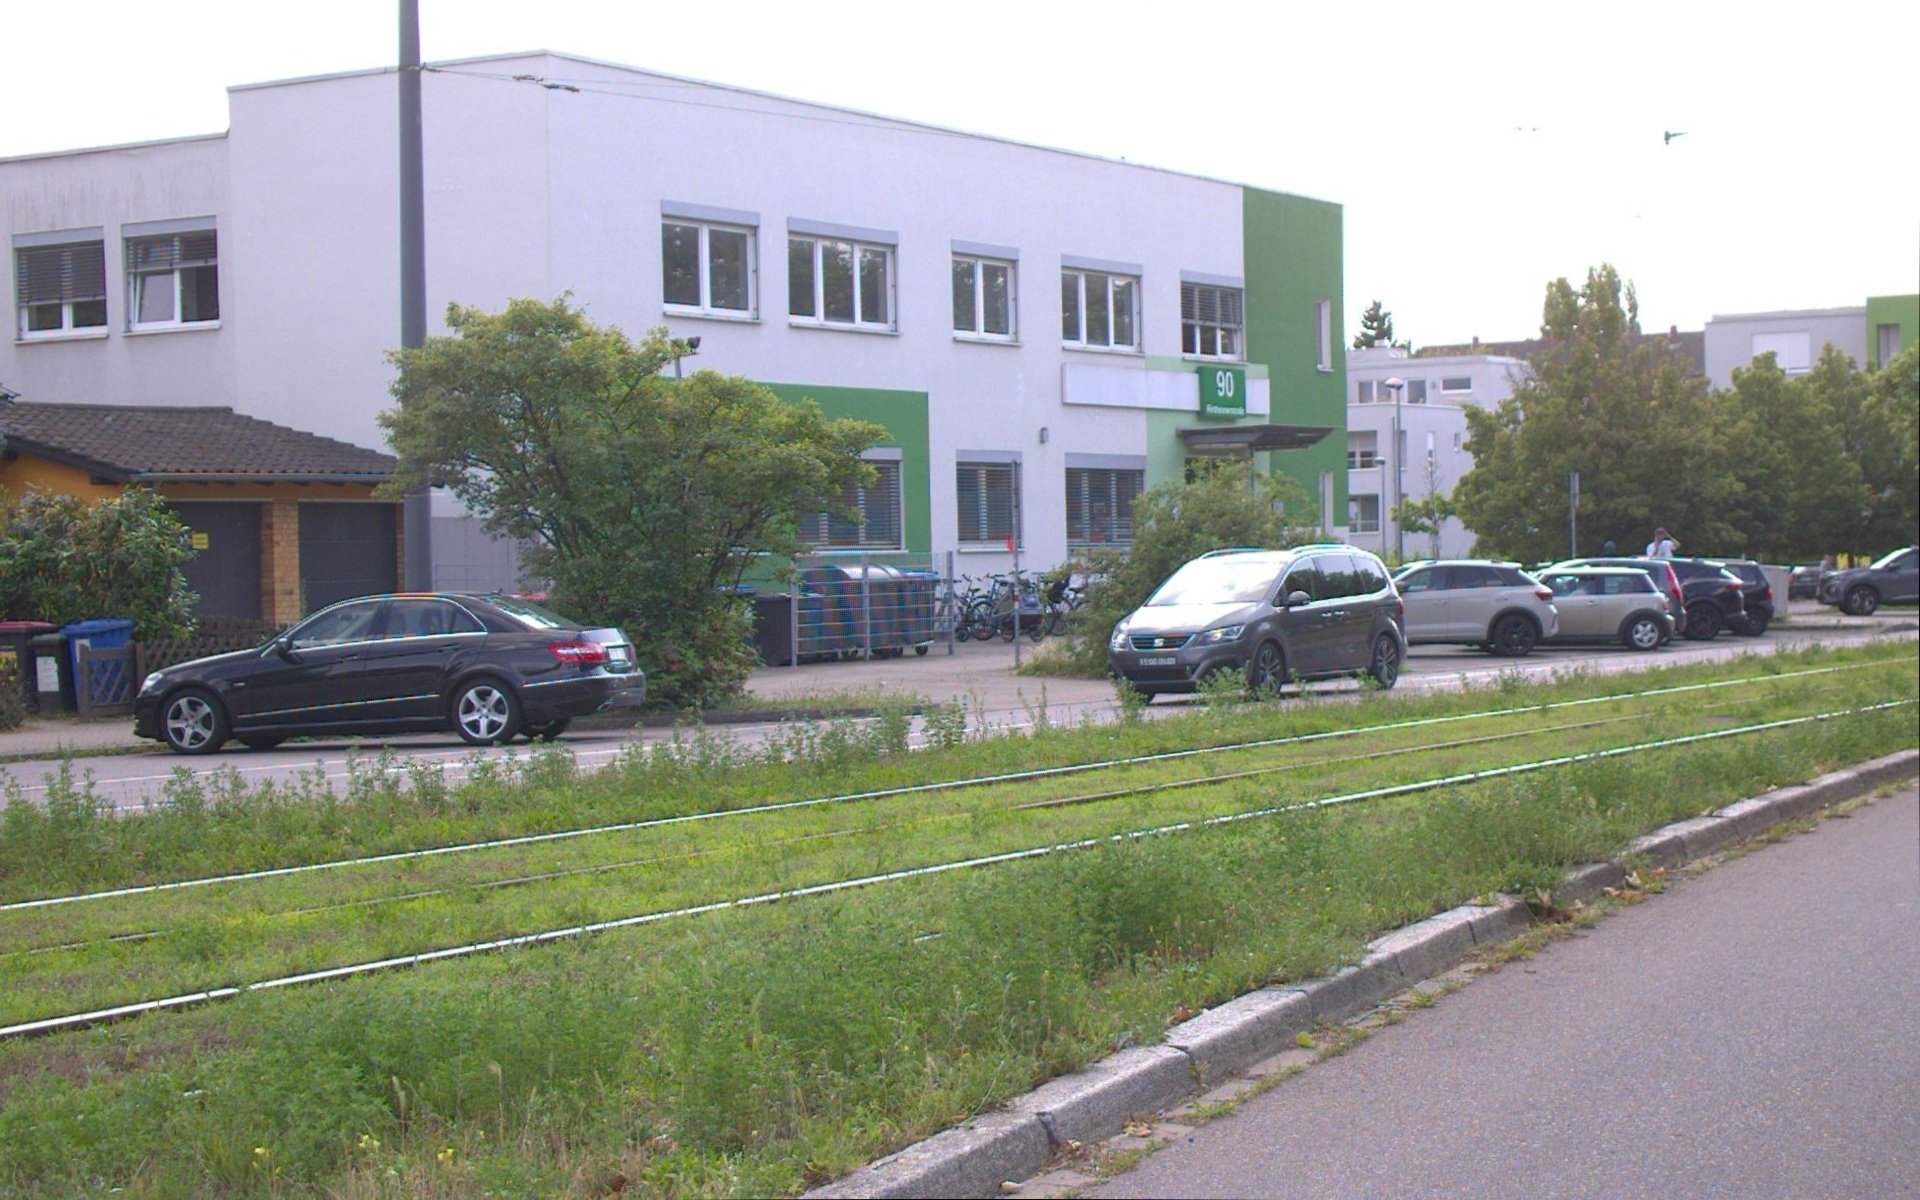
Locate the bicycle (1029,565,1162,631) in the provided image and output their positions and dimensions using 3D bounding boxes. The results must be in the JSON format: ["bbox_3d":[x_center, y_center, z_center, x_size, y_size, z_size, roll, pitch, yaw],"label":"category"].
[{"bbox_3d":[2.461,-0.032,62.630,2.415,1.162,0.747,-1,1,38],"label":"bicycle"}]

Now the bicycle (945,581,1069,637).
[{"bbox_3d":[0.836,0.167,61.222,2.156,0.967,0.729,-1,1,35],"label":"bicycle"}]

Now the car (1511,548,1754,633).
[{"bbox_3d":[12.333,-0.180,63.224,4.157,1.498,1.860,0,1,4],"label":"car"}]

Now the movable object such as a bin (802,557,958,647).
[{"bbox_3d":[-1.209,0.023,52.687,1.375,1.322,2.127,-1,1,35],"label":"movable object such as a bin"}]

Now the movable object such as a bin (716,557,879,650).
[{"bbox_3d":[-2.391,0.044,50.848,1.375,1.322,2.113,-1,1,35],"label":"movable object such as a bin"}]

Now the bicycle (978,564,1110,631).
[{"bbox_3d":[1.500,-0.035,61.880,2.349,1.162,0.759,-1,1,37],"label":"bicycle"}]

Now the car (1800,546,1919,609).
[{"bbox_3d":[21.420,-0.529,78.158,4.302,1.359,1.901,-1,1,7],"label":"car"}]

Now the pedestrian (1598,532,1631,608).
[{"bbox_3d":[14.672,-0.673,77.045,0.596,1.669,0.540,-1,1,22],"label":"pedestrian"}]

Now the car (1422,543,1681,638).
[{"bbox_3d":[10.410,-0.175,60.768,4.301,1.623,1.902,0,1,3],"label":"car"}]

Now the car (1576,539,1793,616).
[{"bbox_3d":[14.506,-0.459,68.994,4.158,1.498,1.860,0,1,9],"label":"car"}]

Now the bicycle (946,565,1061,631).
[{"bbox_3d":[0.739,-0.037,58.354,1.794,1.078,0.735,-1,1,29],"label":"bicycle"}]

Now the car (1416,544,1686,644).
[{"bbox_3d":[9.956,-0.109,58.186,4.301,1.623,1.902,0,1,3],"label":"car"}]

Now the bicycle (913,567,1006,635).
[{"bbox_3d":[-0.015,0.015,59.944,0.704,1.162,1.620,-2,1,-42],"label":"bicycle"}]

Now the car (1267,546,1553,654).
[{"bbox_3d":[7.243,-0.015,55.603,4.301,1.623,1.902,-1,1,-2],"label":"car"}]

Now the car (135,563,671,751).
[{"bbox_3d":[-5.247,0.523,32.636,4.567,1.575,1.999,-2,0,11],"label":"car"}]

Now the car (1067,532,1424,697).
[{"bbox_3d":[3.312,0.123,38.945,1.997,1.716,4.732,-1,1,33],"label":"car"}]

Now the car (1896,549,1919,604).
[{"bbox_3d":[26.119,-0.647,87.315,4.302,1.359,1.901,-1,1,9],"label":"car"}]
